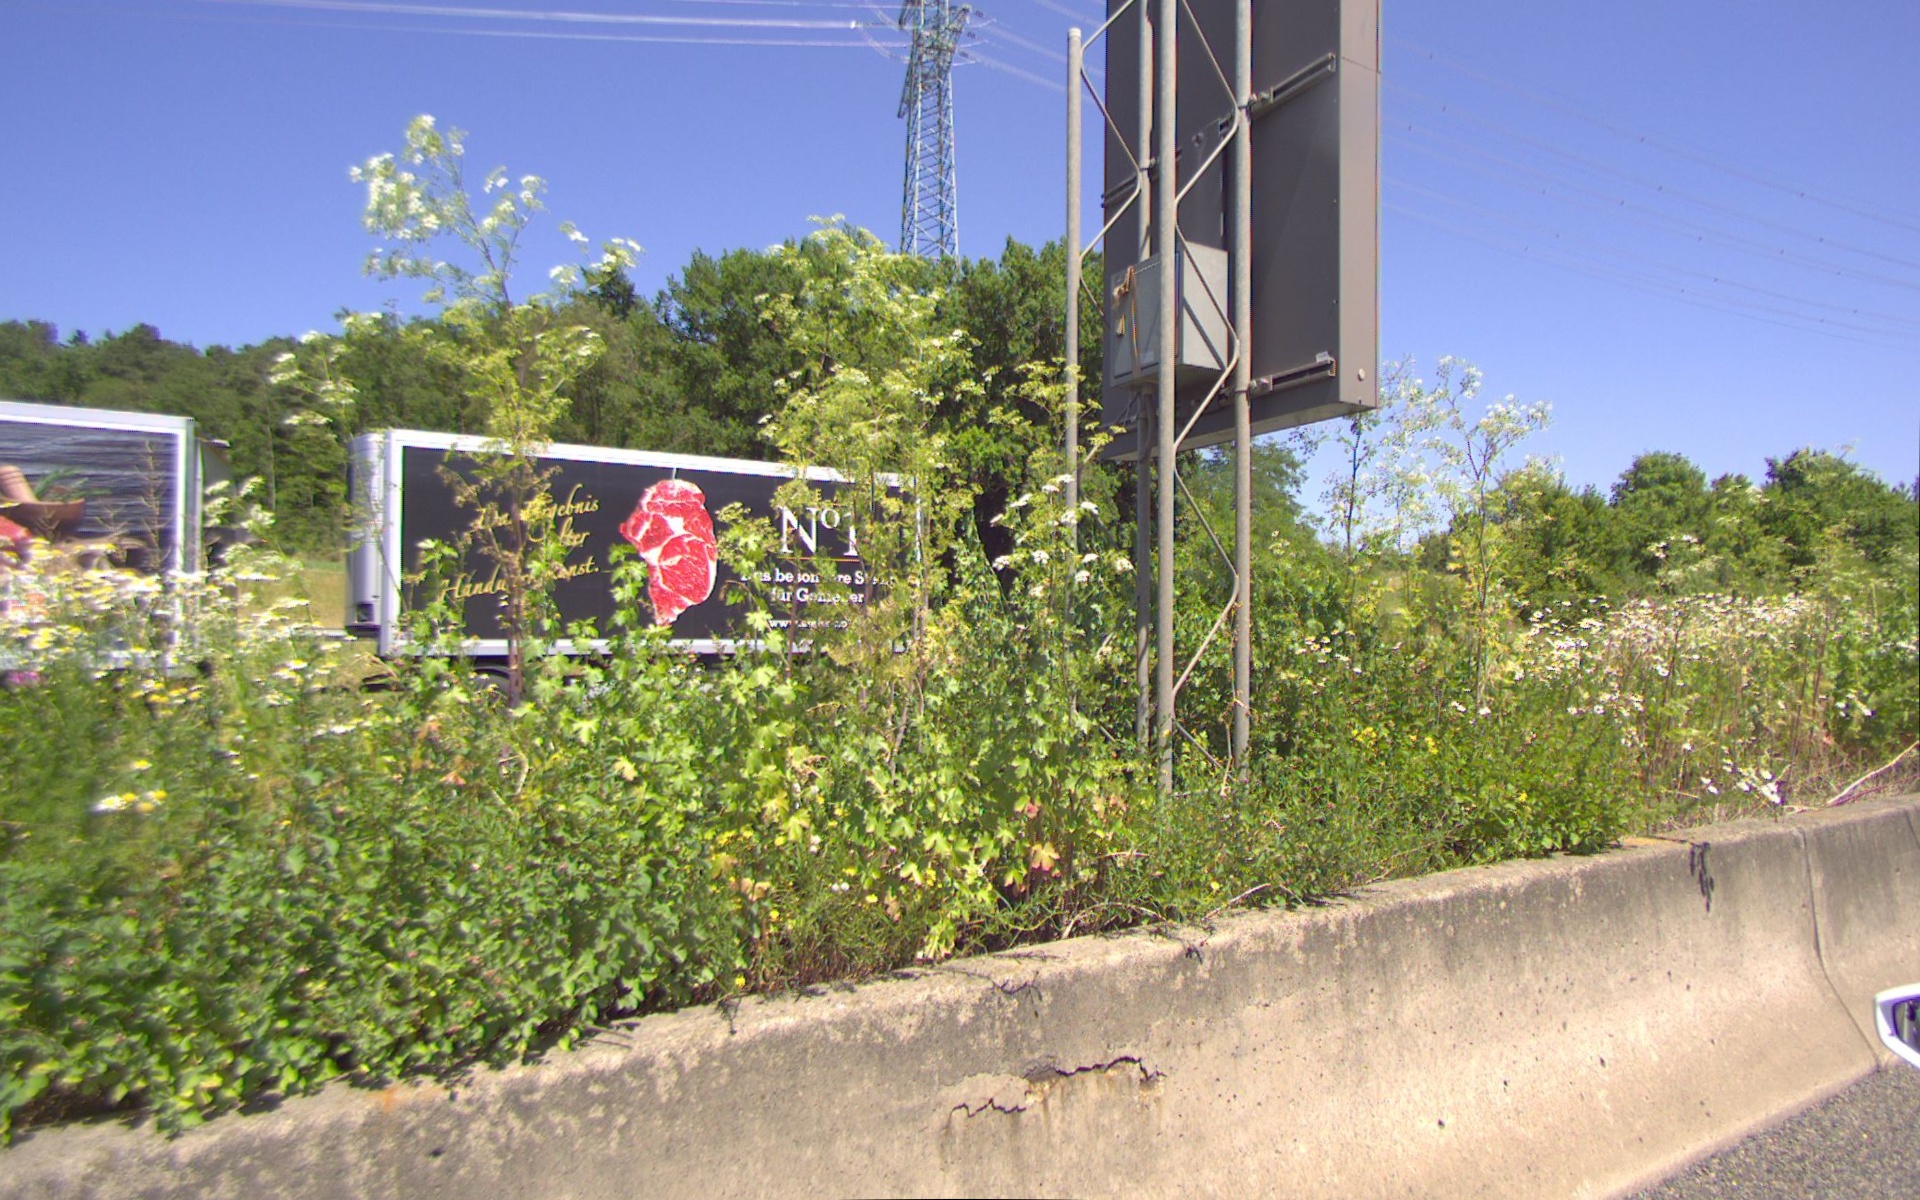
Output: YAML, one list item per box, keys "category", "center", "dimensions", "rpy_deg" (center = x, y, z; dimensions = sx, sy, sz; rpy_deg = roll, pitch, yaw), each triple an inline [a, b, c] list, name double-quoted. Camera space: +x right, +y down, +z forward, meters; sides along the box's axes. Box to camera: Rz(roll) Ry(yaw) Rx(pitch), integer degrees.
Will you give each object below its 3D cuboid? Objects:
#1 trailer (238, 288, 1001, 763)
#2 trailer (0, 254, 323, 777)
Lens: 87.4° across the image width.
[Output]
- category: "trailer"
  center: [-4.325, -0.642, 14.566]
  dimensions: [9.474, 5.114, 3.308]
  rpy_deg: [2, -1, -29]
- category: "trailer"
  center: [-10.989, -0.841, 10.813]
  dimensions: [6.623, 5.114, 3.308]
  rpy_deg: [2, -1, -29]
